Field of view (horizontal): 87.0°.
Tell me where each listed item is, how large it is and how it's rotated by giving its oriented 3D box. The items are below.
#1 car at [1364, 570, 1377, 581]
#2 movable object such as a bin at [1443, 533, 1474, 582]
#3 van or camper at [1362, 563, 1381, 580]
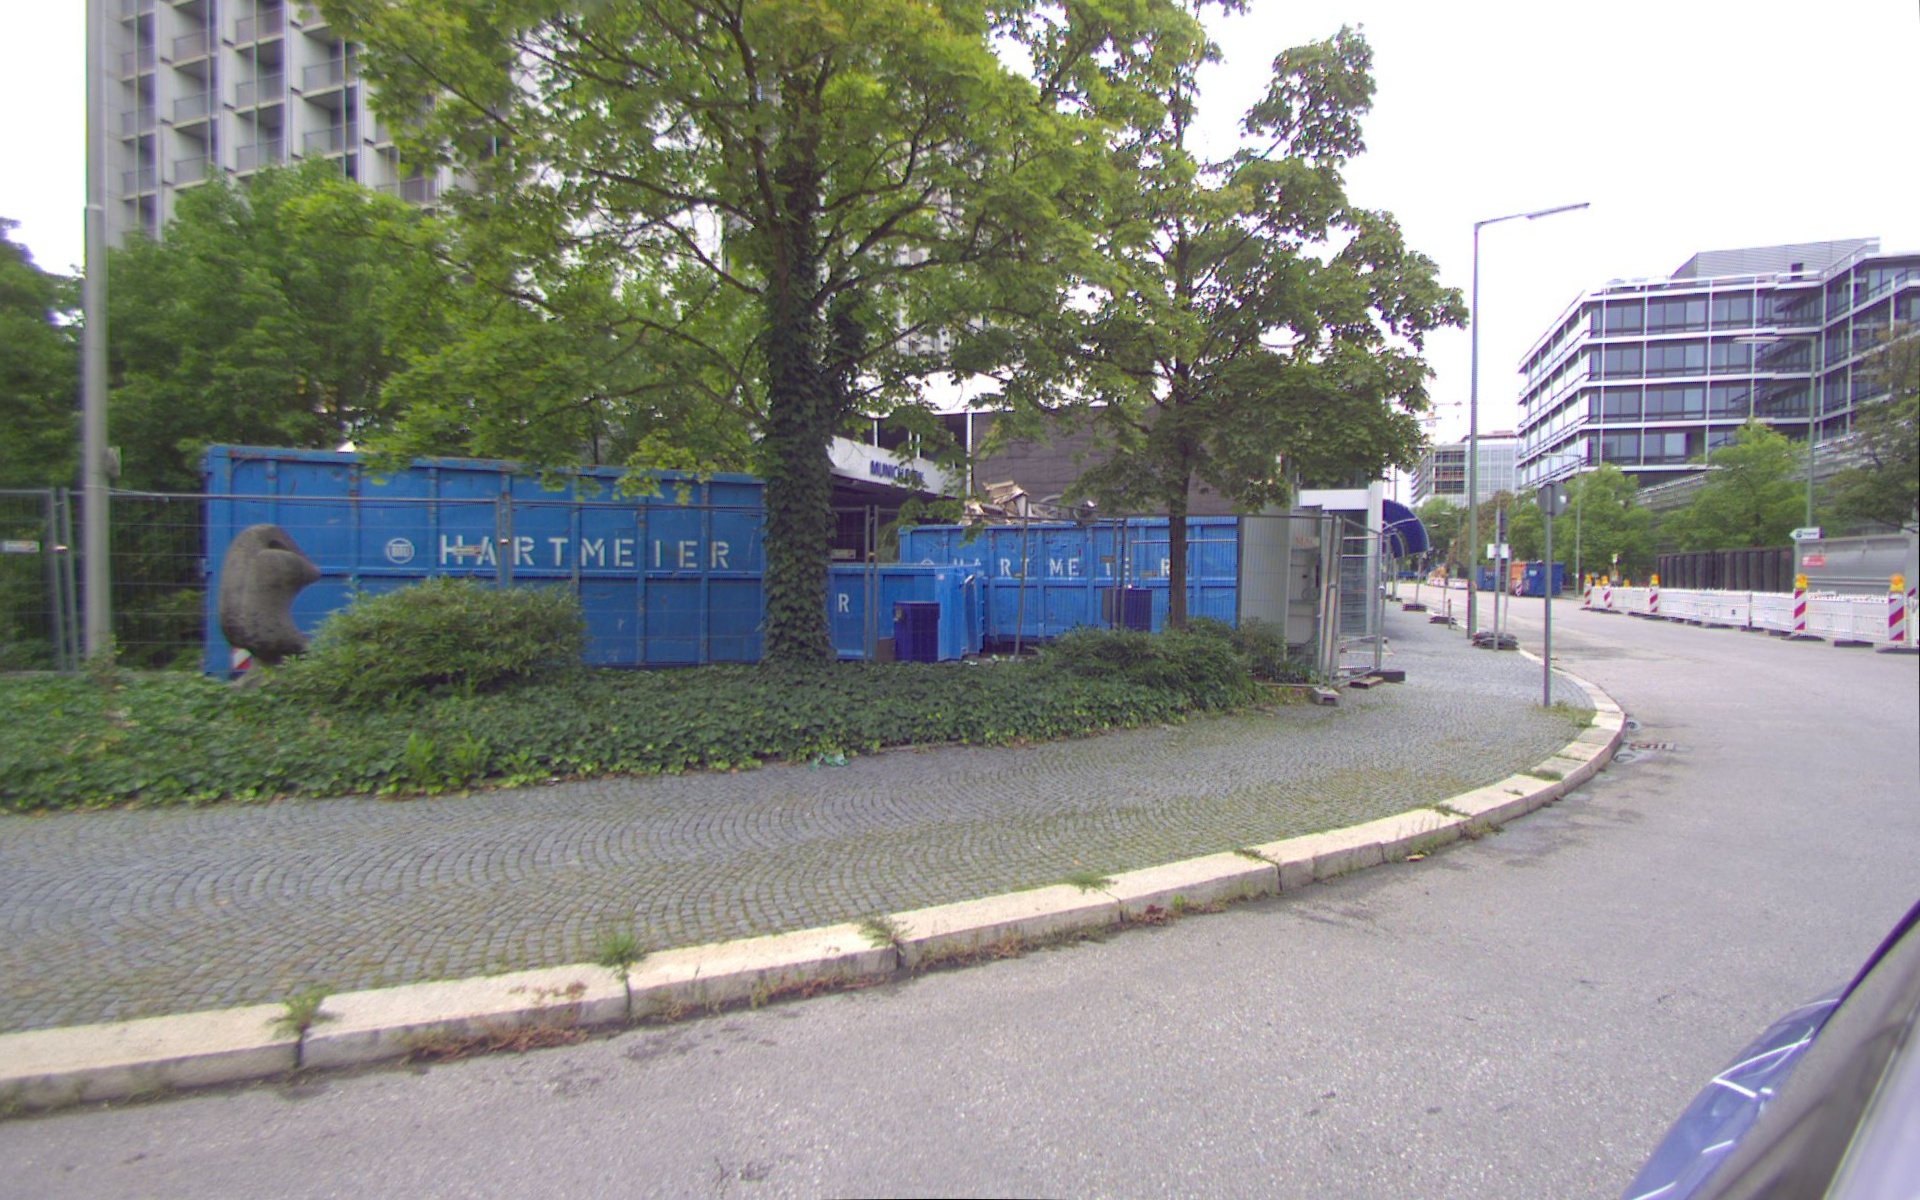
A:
[{"bbox_3d":[66.399,-3.993,163.776,1.892,1.657,3.971,1,2,22],"label":"car"},{"bbox_3d":[66.777,-5.653,135.776,3.208,6.400,8.272,1,2,23],"label":"movable object such as a bin"},{"bbox_3d":[68.949,-4.743,169.459,2.640,2.801,6.860,1,2,24],"label":"van or camper"}]
